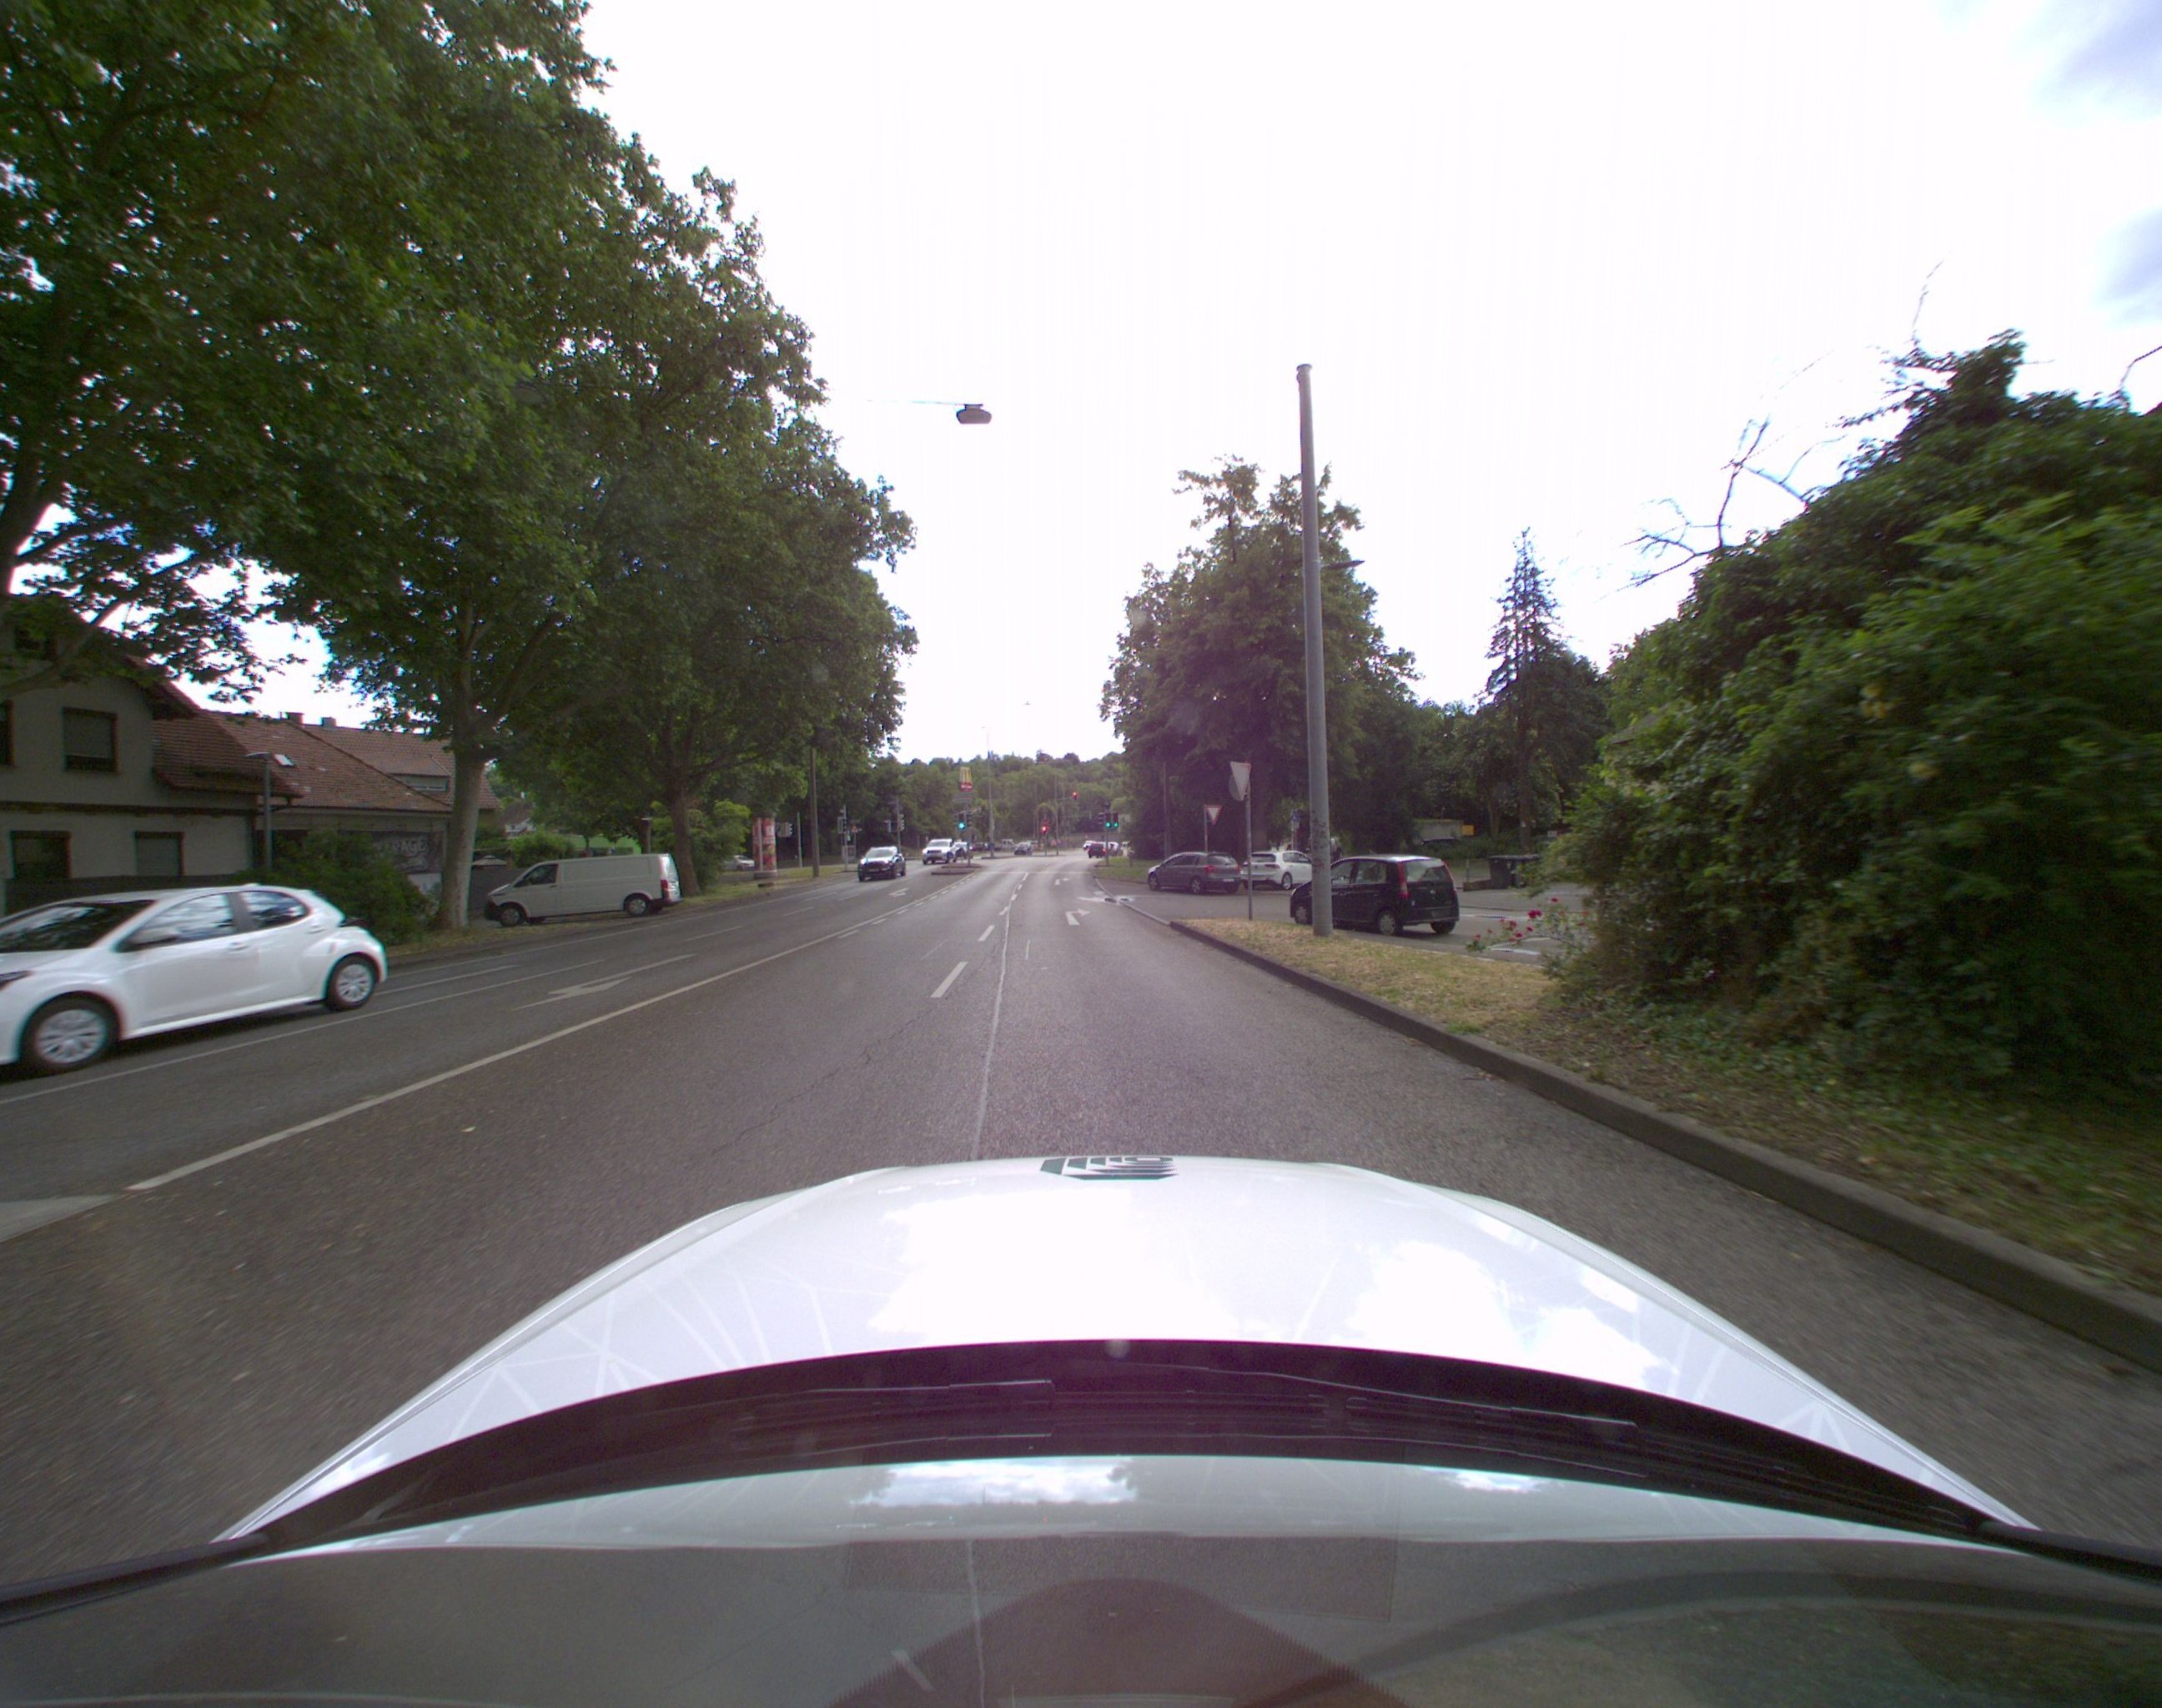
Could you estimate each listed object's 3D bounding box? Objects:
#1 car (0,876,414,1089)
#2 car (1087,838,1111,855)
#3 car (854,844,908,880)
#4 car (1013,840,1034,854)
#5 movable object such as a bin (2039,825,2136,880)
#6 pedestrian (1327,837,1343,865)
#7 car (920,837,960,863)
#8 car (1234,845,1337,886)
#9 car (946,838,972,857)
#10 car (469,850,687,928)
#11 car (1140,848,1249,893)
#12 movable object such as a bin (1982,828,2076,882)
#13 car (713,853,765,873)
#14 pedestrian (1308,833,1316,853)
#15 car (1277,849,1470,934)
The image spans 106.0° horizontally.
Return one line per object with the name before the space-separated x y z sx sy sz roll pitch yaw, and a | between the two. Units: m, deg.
car | -8.938 1.067 7.790 1.757 1.466 4.020 -4 0 -1
car | 1.736 -0.691 75.800 1.813 1.509 4.582 -2 0 6
car | -10.389 0.382 42.614 1.792 1.586 4.412 -4 2 -2
car | -6.650 -0.819 94.683 1.558 1.526 3.199 -1 2 11
movable object such as a bin | 27.212 -0.035 22.040 1.205 1.395 1.099 -2 0 13
pedestrian | 14.446 -0.196 46.307 0.680 1.551 0.743 -2 1 3
car | -10.436 -0.339 60.642 1.903 1.763 4.756 -2 2 3
car | 7.772 0.391 30.742 4.286 1.380 1.743 -2 1 -44
car | -10.555 -0.574 70.491 1.563 1.382 3.950 -3 2 0
car | -15.378 1.006 25.255 5.236 1.931 2.073 -4 1 -15
car | 4.038 0.539 29.622 1.739 1.429 4.072 -2 2 -31
movable object such as a bin | 25.945 0.014 22.329 1.205 1.395 1.165 -2 0 13
car | -28.623 0.749 68.145 3.807 1.479 1.837 -1 1 26
pedestrian | 18.245 -0.865 64.300 0.507 1.531 0.781 -1 0 13
car | 5.577 0.632 15.956 1.576 1.404 3.466 -2 1 -25
